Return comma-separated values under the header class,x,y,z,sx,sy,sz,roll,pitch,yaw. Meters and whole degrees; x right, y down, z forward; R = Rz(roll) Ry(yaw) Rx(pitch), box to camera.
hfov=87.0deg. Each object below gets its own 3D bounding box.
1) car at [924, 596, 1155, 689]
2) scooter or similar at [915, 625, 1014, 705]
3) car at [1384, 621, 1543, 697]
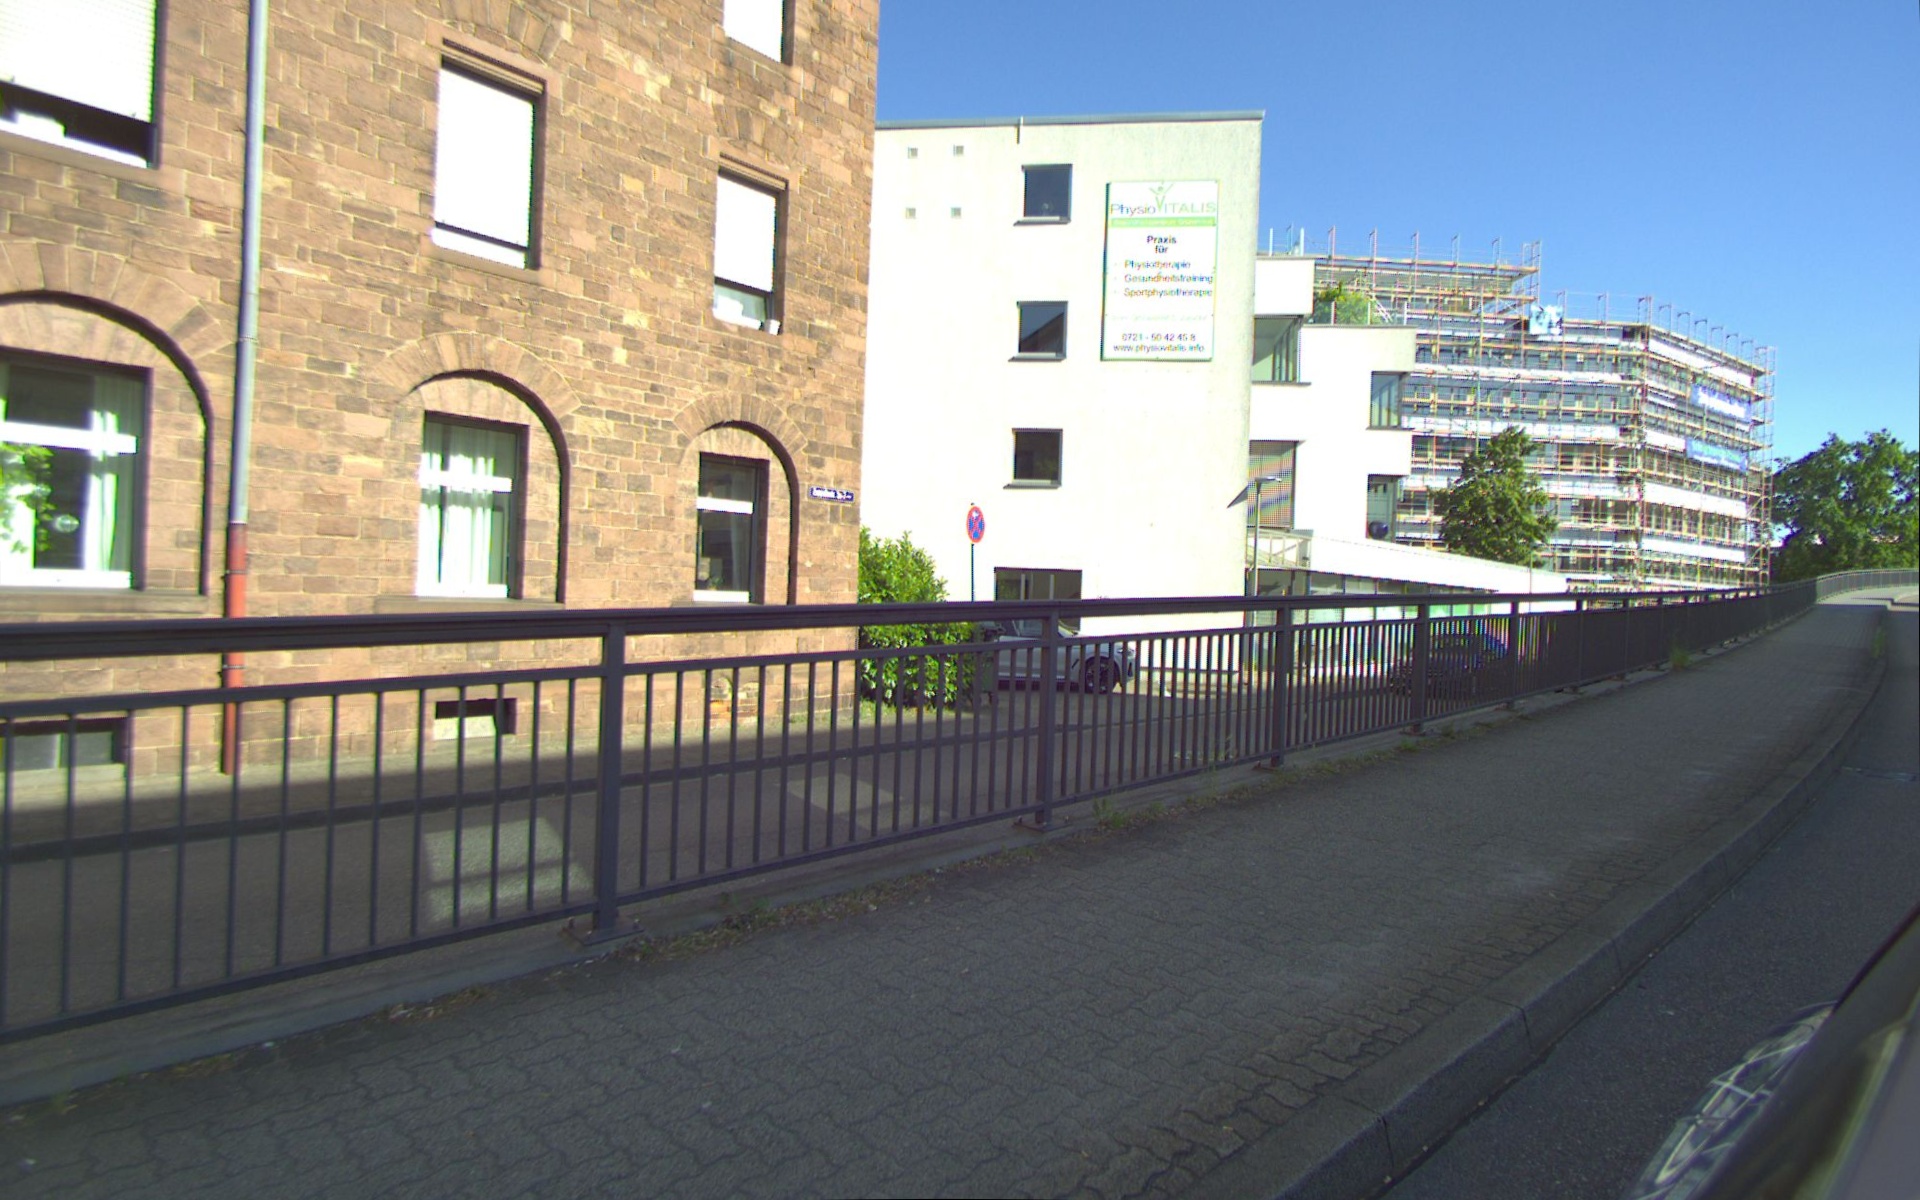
class,x,y,z,sx,sy,sz,roll,pitch,yaw
car,1.637,0.821,21.035,4.568,1.789,1.825,0,1,7
scooter or similar,0.062,1.028,16.473,1.455,1.235,0.774,-1,-2,40
car,11.940,1.308,23.854,4.603,1.448,1.847,-1,1,-43
